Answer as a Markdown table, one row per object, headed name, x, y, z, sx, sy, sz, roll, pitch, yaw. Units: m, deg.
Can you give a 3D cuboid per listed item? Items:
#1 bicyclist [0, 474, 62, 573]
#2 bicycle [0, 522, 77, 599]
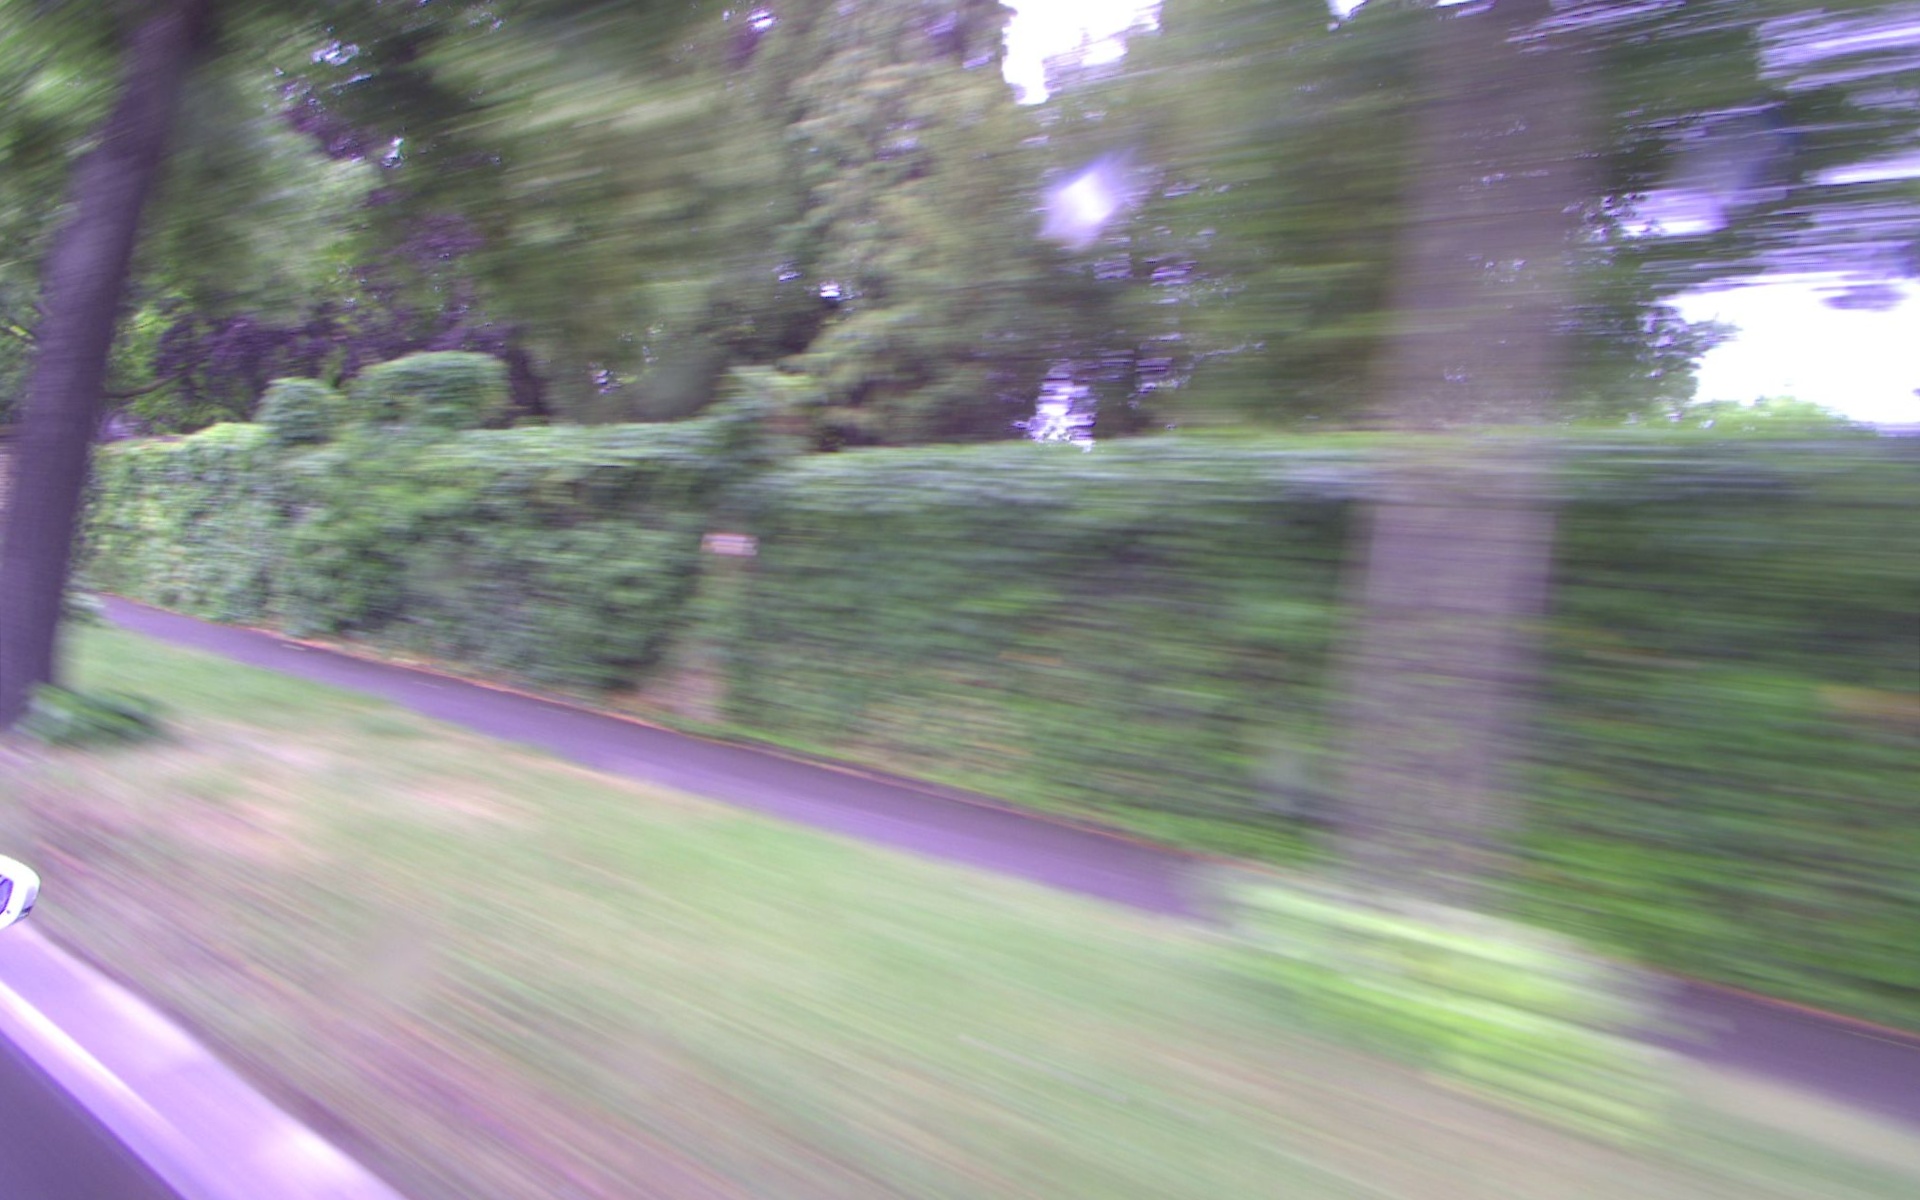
| name | x | y | z | sx | sy | sz | roll | pitch | yaw |
| --- | --- | --- | --- | --- | --- | --- | --- | --- | --- |
| bicyclist | -14.159 | -1.159 | 15.289 | 0.656 | 1.407 | 0.535 | 7 | 1 | 35 |
| bicycle | -14.186 | -0.631 | 15.279 | 2.509 | 0.960 | 0.543 | 7 | 1 | 35 |
